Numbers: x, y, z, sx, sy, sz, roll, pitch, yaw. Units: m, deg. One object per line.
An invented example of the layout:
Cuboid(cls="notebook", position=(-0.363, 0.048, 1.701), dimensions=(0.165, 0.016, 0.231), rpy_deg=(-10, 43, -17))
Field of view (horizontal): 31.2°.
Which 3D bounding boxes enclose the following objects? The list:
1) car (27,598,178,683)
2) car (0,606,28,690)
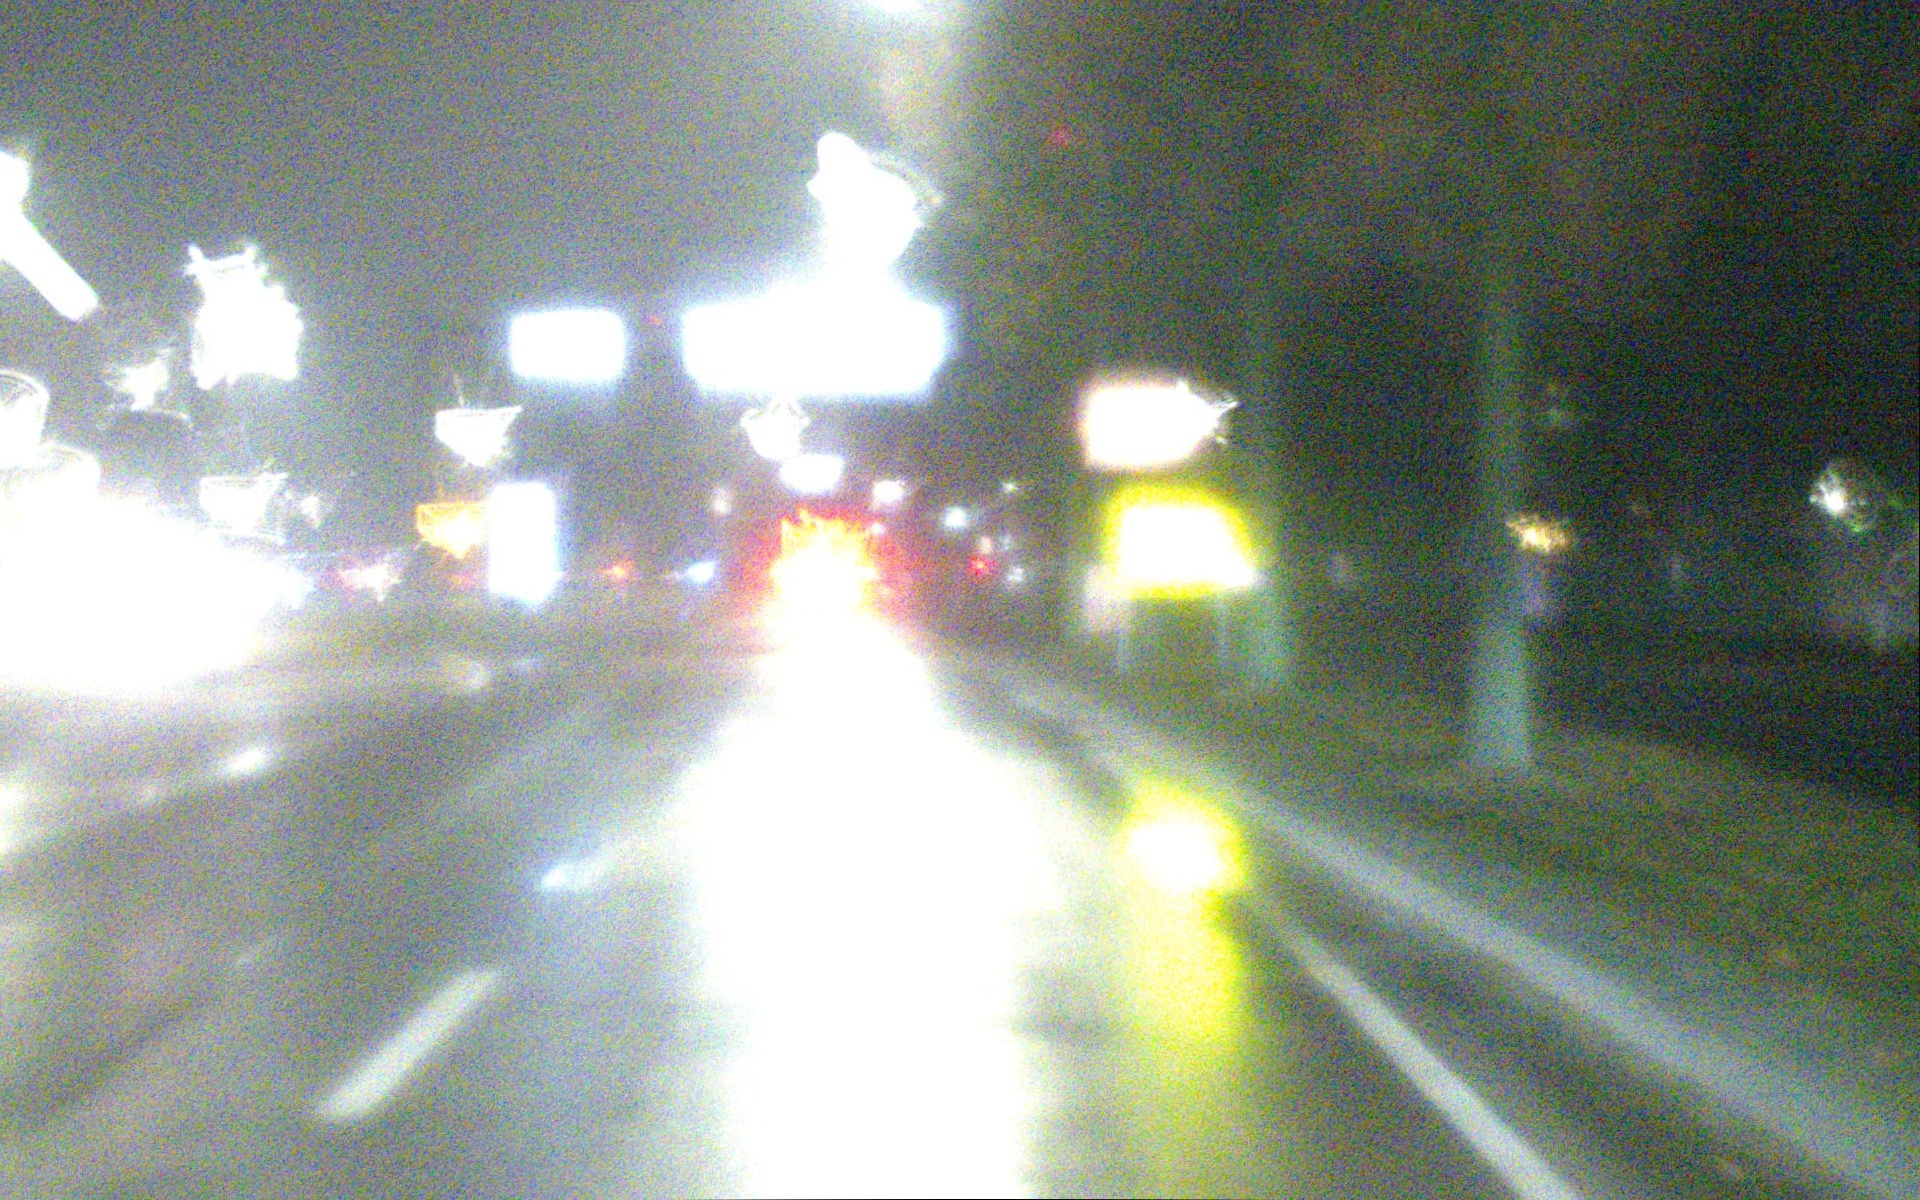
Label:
Cuboid(cls="car", position=(-16.204, 0.744, 65.154), dimensions=(1.843, 1.481, 4.366), rpy_deg=(1, 1, -1))
Cuboid(cls="car", position=(-19.386, 0.932, 66.062), dimensions=(1.843, 1.587, 4.366), rpy_deg=(1, 1, -1))
